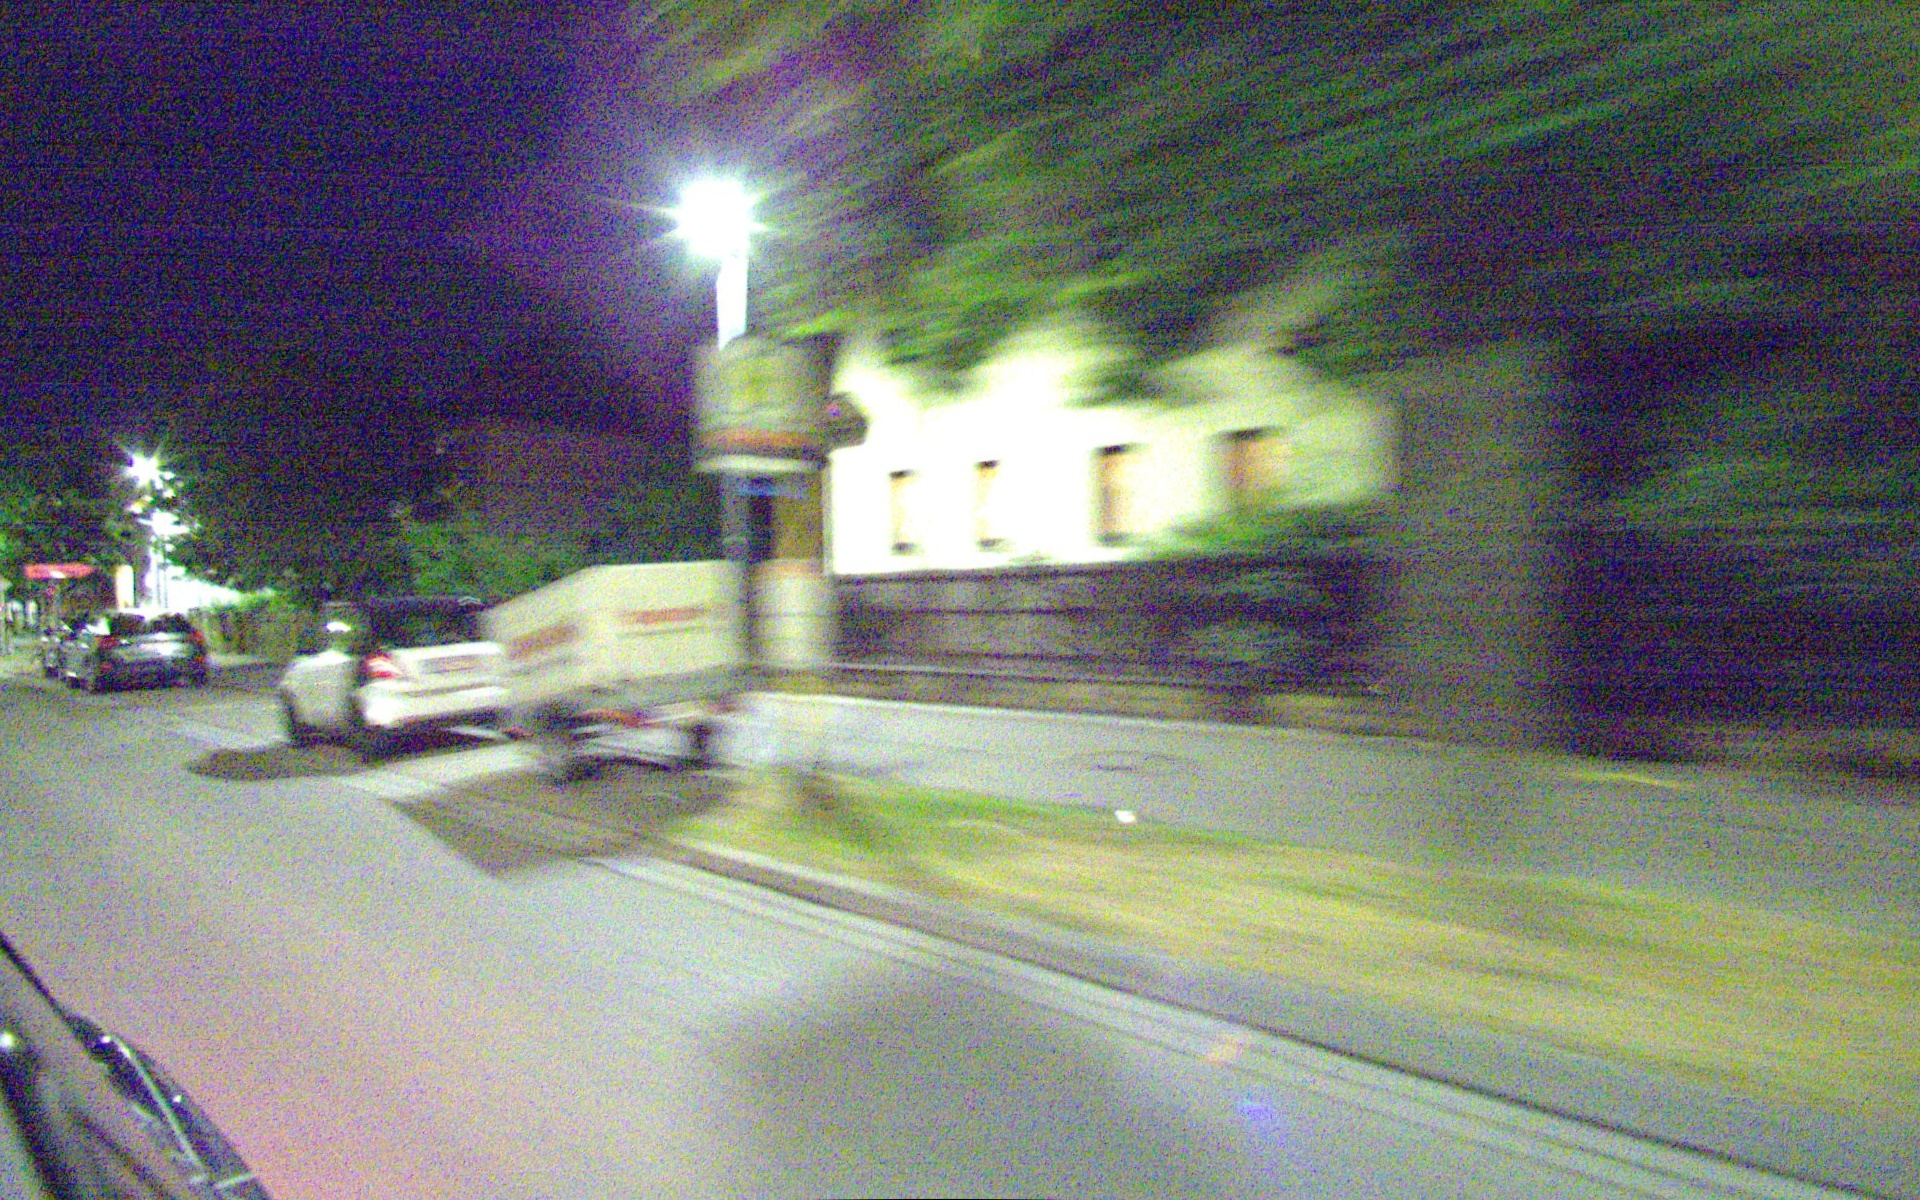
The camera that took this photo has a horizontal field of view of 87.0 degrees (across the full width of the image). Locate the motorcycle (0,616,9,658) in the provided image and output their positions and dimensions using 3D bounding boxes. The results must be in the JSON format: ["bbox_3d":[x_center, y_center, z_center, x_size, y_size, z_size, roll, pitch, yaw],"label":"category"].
[{"bbox_3d":[-34.268,1.296,35.829,0.737,1.463,2.199,-1,0,-40],"label":"motorcycle"}]

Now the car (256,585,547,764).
[{"bbox_3d":[-5.937,0.684,10.679,2.976,1.533,1.655,-1,3,40],"label":"car"}]

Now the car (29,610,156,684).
[{"bbox_3d":[-20.204,1.041,23.509,4.277,1.522,1.670,-1,0,42],"label":"car"}]

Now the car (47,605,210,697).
[{"bbox_3d":[-16.315,0.931,19.778,4.276,1.530,1.748,-1,1,41],"label":"car"}]

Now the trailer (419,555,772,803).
[{"bbox_3d":[-3.285,0.553,8.809,3.427,1.700,1.432,-1,3,44],"label":"trailer"}]
